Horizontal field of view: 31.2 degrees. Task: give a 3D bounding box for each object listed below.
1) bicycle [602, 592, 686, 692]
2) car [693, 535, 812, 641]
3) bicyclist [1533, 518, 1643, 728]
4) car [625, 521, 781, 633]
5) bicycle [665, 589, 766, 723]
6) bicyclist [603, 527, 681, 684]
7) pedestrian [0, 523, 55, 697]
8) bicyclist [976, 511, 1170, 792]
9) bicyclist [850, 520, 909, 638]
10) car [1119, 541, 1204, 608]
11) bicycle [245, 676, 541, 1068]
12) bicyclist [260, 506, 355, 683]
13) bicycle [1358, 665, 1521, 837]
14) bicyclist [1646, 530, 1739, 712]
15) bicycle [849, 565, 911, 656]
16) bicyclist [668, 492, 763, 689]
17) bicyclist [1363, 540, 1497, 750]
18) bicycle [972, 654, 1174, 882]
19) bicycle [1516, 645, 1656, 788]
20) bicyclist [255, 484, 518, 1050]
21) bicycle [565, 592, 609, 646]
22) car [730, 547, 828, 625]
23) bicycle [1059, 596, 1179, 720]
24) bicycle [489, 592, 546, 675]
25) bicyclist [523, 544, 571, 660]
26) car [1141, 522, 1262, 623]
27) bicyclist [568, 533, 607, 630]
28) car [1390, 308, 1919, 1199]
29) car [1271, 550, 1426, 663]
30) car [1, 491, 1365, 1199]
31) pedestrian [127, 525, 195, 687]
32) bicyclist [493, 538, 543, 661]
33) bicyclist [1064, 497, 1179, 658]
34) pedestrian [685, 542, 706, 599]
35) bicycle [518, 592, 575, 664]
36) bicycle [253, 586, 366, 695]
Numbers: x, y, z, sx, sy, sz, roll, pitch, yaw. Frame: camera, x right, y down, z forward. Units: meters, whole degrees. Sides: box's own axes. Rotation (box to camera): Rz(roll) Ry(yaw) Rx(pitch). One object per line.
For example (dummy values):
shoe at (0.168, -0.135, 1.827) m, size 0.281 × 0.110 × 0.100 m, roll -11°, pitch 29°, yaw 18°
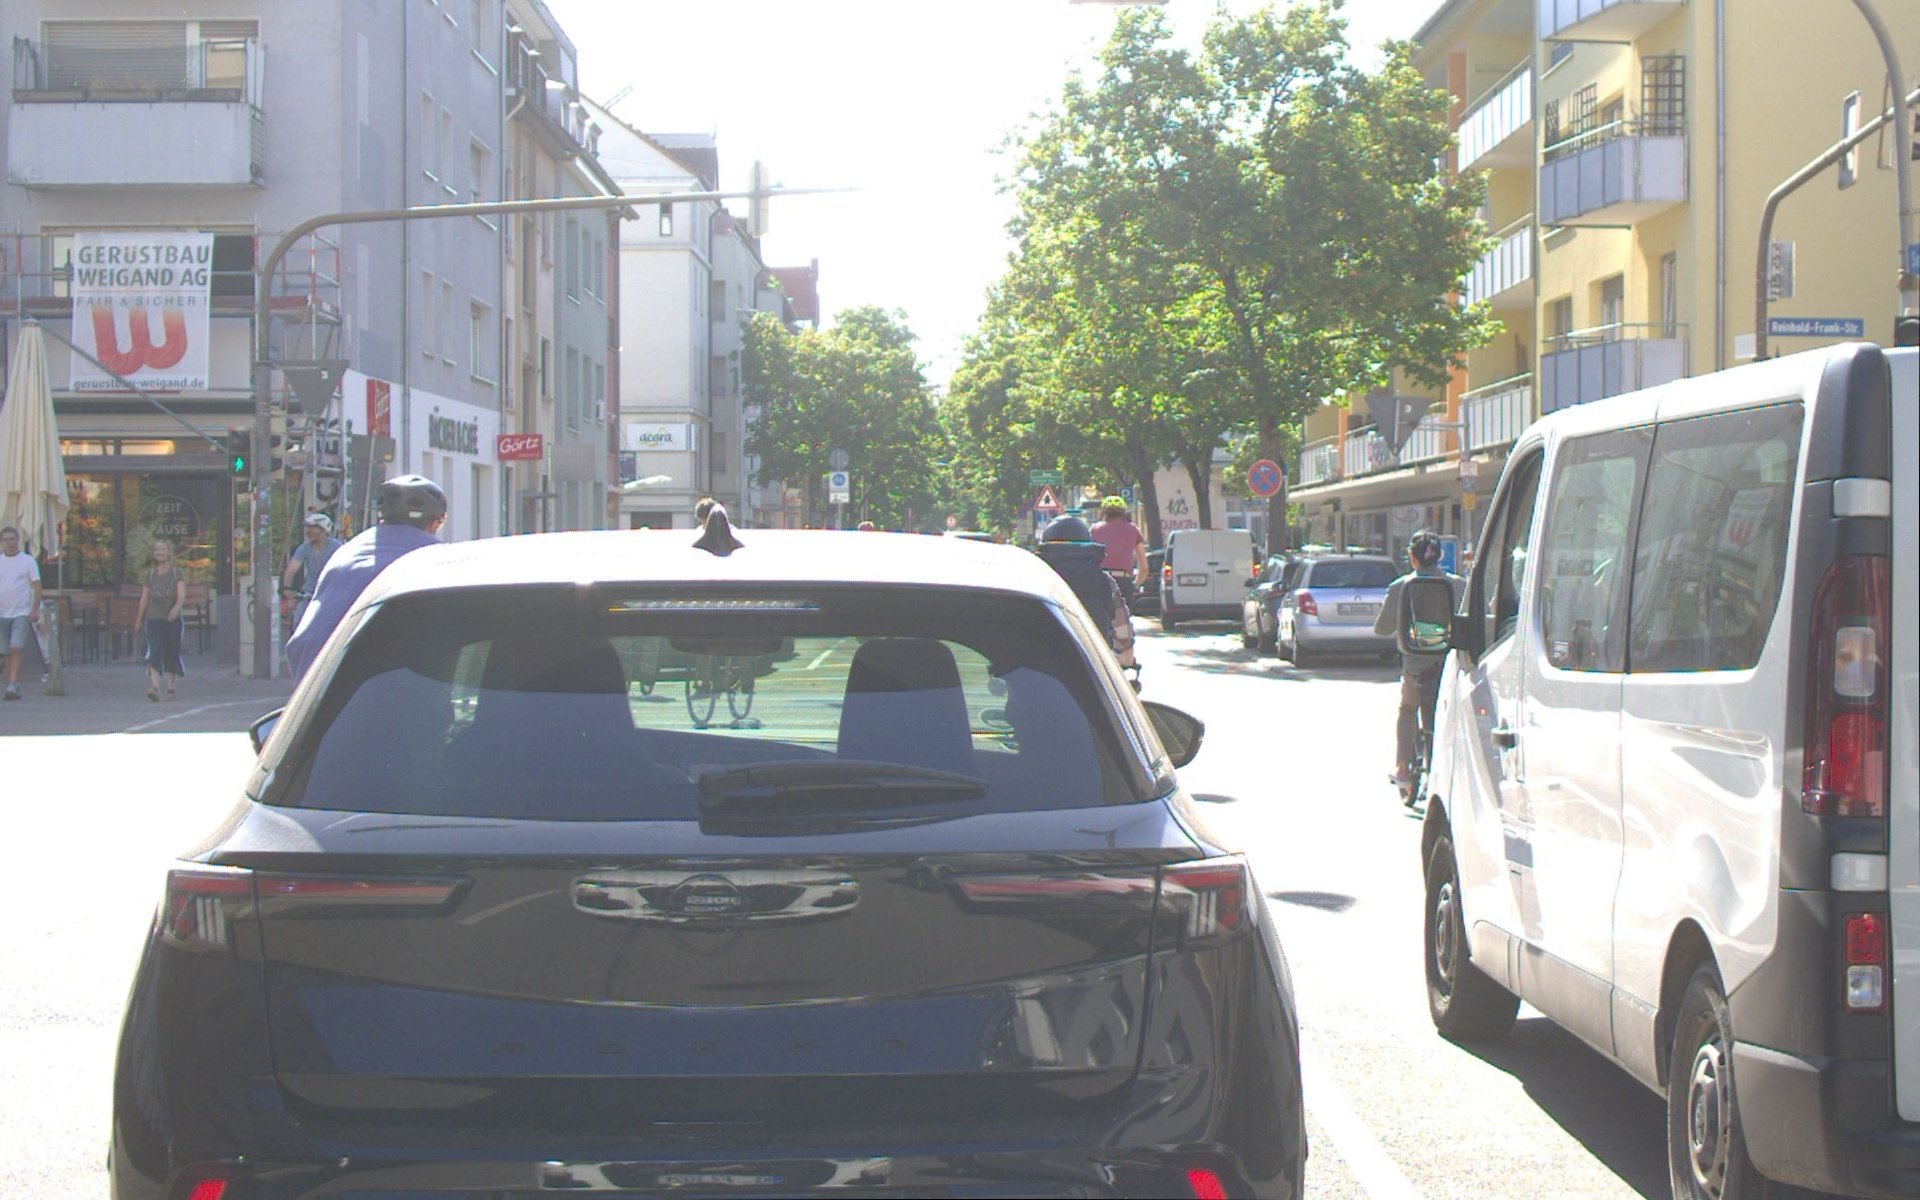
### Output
bicycle at (-3.235, 0.416, 35.295) m, size 0.679 × 0.949 × 1.934 m, roll -1°, pitch 1°, yaw 0°
car at (-3.202, -0.194, 53.599) m, size 1.592 × 1.560 × 4.089 m, roll -1°, pitch 0°, yaw 0°
bicyclist at (4.189, 0.146, 22.962) m, size 0.588 × 1.378 × 0.823 m, roll 0°, pitch 1°, yaw 1°
car at (-3.396, -0.329, 46.110) m, size 1.837 × 1.429 × 4.177 m, roll 0°, pitch 1°, yaw -1°
bicycle at (-2.028, 0.448, 28.685) m, size 0.716 × 1.060 × 1.872 m, roll -1°, pitch 1°, yaw 0°
bicyclist at (-3.248, 0.052, 35.203) m, size 0.679 × 1.571 × 0.899 m, roll -1°, pitch 1°, yaw 0°
pedestrian at (-9.232, 0.090, 33.556) m, size 0.573 × 1.683 × 0.669 m, roll 0°, pitch 1°, yaw 6°
bicyclist at (0.545, 0.238, 17.033) m, size 0.856 × 1.310 × 1.210 m, roll 2°, pitch 1°, yaw -1°
bicyclist at (-1.129, -0.305, 48.674) m, size 0.801 × 1.644 × 1.125 m, roll 0°, pitch 1°, yaw 0°
car at (4.552, -0.587, 78.018) m, size 1.712 × 1.478 × 3.381 m, roll 0°, pitch 1°, yaw 0°
bicycle at (-1.722, 0.795, 10.683) m, size 0.632 × 1.037 × 1.795 m, roll -1°, pitch 1°, yaw -1°
bicyclist at (-6.115, -0.058, 32.256) m, size 0.679 × 1.625 × 0.899 m, roll -1°, pitch 1°, yaw 0°
bicycle at (2.717, 0.839, 19.630) m, size 0.691 × 0.863 × 1.876 m, roll 0°, pitch 1°, yaw 1°
bicyclist at (5.641, 0.154, 26.510) m, size 0.547 × 1.378 × 0.823 m, roll 0°, pitch 1°, yaw 1°
bicycle at (-1.126, 0.138, 48.696) m, size 0.801 × 1.251 × 2.139 m, roll 0°, pitch 1°, yaw 1°
bicyclist at (-2.035, -0.082, 28.695) m, size 0.716 × 1.614 × 0.946 m, roll -1°, pitch 0°, yaw 0°
bicyclist at (2.688, 0.249, 19.712) m, size 0.692 × 1.189 × 0.595 m, roll 0°, pitch 1°, yaw 1°
bicycle at (0.525, 0.792, 16.970) m, size 0.856 × 0.941 × 2.307 m, roll 2°, pitch 1°, yaw -1°
bicycle at (4.195, 0.767, 23.150) m, size 0.620 × 0.863 × 1.876 m, roll 0°, pitch 1°, yaw 1°
bicyclist at (-1.757, 0.482, 10.649) m, size 0.632 × 1.663 × 1.050 m, roll -1°, pitch 1°, yaw -1°
bicycle at (-6.024, 0.296, 55.520) m, size 0.553 × 0.831 × 2.132 m, roll 1°, pitch 1°, yaw -2°
car at (-3.512, -0.297, 67.123) m, size 1.804 × 1.408 × 4.426 m, roll -2°, pitch 1°, yaw -2°
bicycle at (1.338, 0.476, 29.368) m, size 0.856 × 0.941 × 2.307 m, roll 2°, pitch 1°, yaw -1°
bicycle at (-5.038, 0.372, 39.188) m, size 0.542 × 0.899 × 1.826 m, roll 0°, pitch 1°, yaw -4°
bicyclist at (-5.434, 0.018, 45.245) m, size 0.542 × 1.515 × 0.774 m, roll 0°, pitch 1°, yaw 0°
car at (4.571, -0.550, 65.637) m, size 2.046 × 1.840 × 4.584 m, roll 0°, pitch 1°, yaw 1°
bicyclist at (-6.020, -0.300, 55.566) m, size 0.553 × 1.543 × 0.814 m, roll 1°, pitch 1°, yaw -2°
car at (2.443, 0.438, 8.705) m, size 1.968 × 1.933 × 5.056 m, roll 1°, pitch 1°, yaw -1°
car at (5.274, 0.061, 47.020) m, size 1.712 × 1.478 × 3.480 m, roll 0°, pitch 1°, yaw 0°
car at (-0.382, 0.614, 6.451) m, size 1.762 × 1.553 × 4.000 m, roll 0°, pitch 1°, yaw -1°
pedestrian at (-7.810, 0.053, 33.616) m, size 0.531 × 1.576 × 0.563 m, roll 0°, pitch 1°, yaw -1°
bicyclist at (-5.046, -0.013, 39.260) m, size 0.542 × 1.386 × 0.788 m, roll 0°, pitch 1°, yaw -5°
bicyclist at (1.362, -0.197, 29.272) m, size 0.856 × 1.310 × 1.210 m, roll 2°, pitch 1°, yaw -1°
pedestrian at (-7.364, -0.818, 95.816) m, size 0.577 × 1.577 × 0.708 m, roll 0°, pitch 1°, yaw -6°
bicycle at (-5.433, 0.353, 45.229) m, size 0.542 × 0.899 × 1.826 m, roll 0°, pitch 1°, yaw 0°
bicycle at (-6.095, 0.363, 32.290) m, size 0.679 × 0.949 × 1.934 m, roll -1°, pitch 1°, yaw 0°
